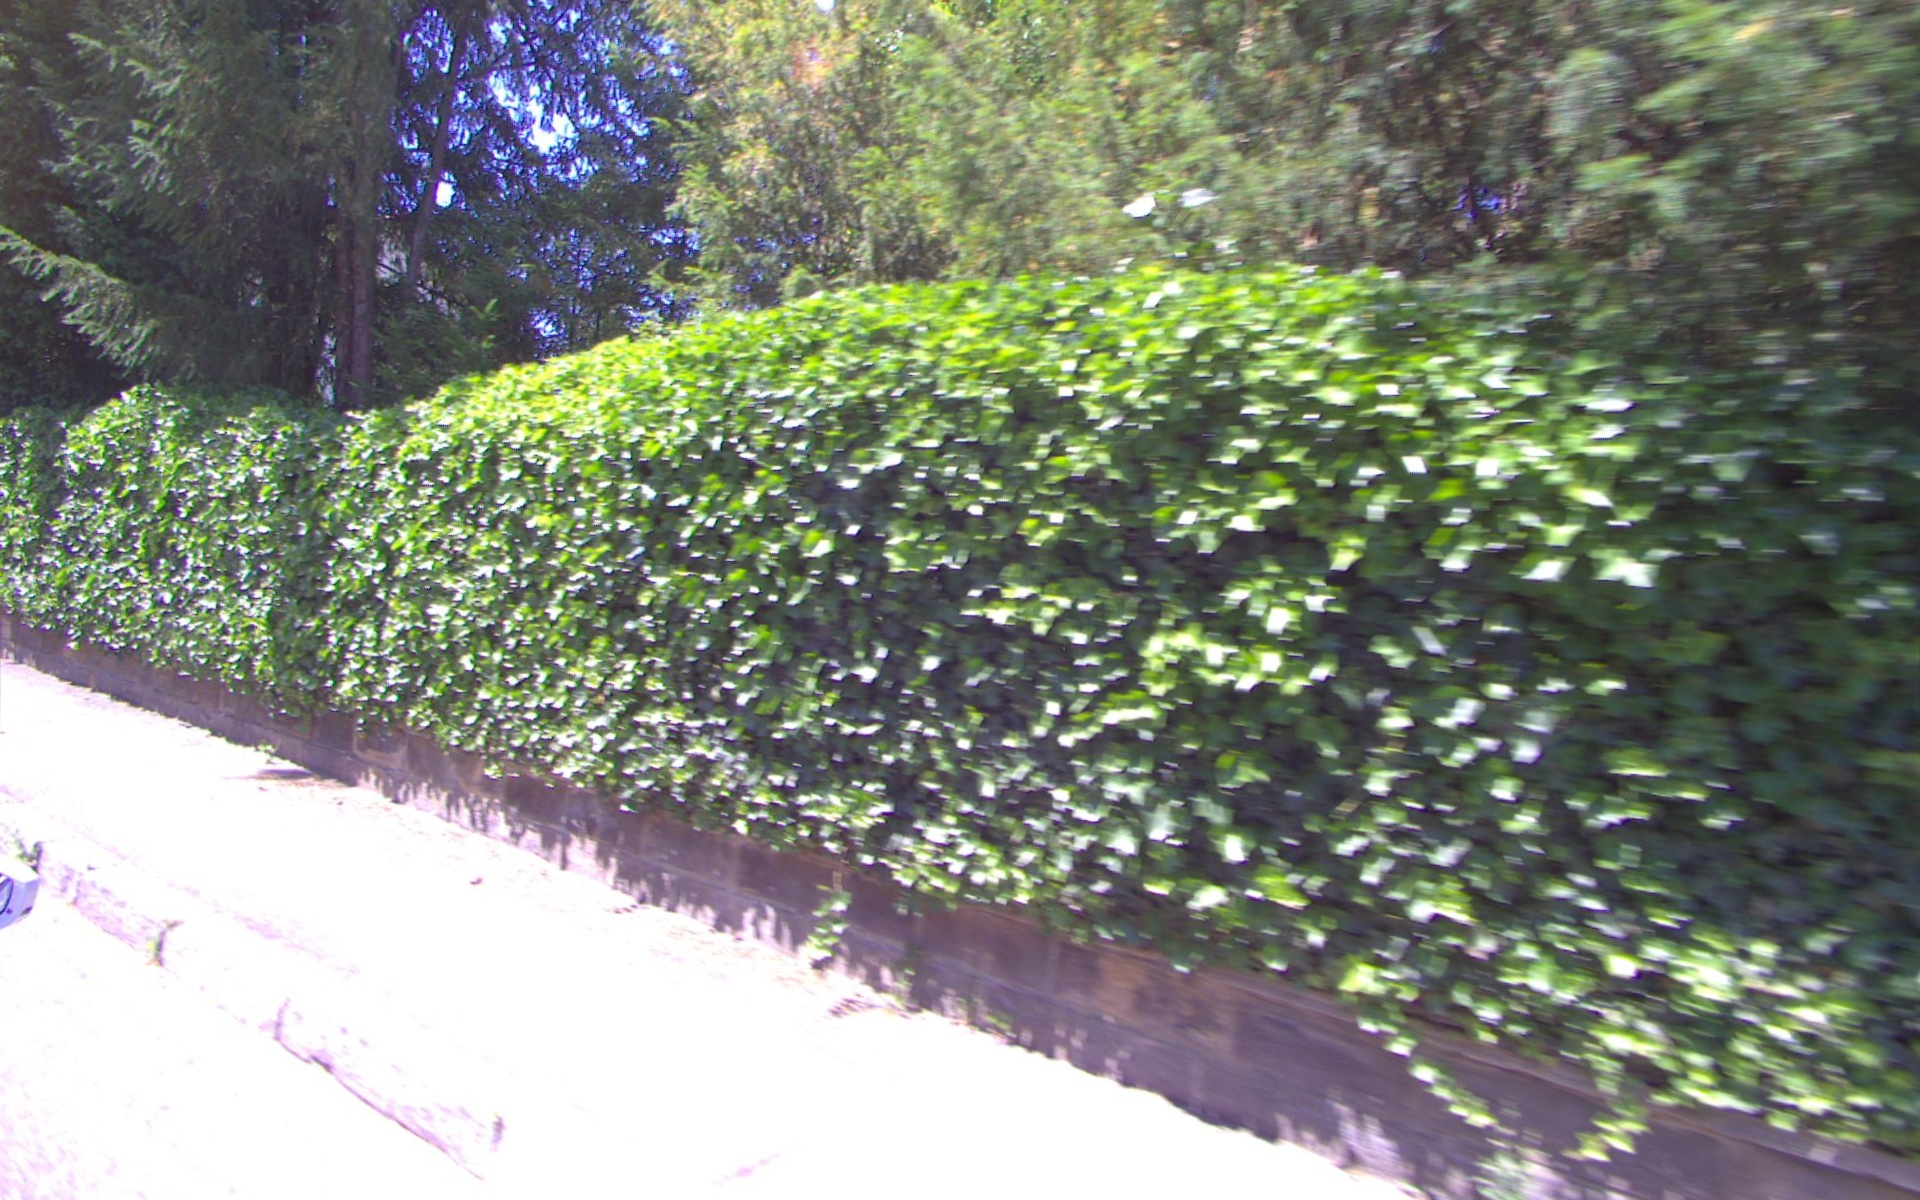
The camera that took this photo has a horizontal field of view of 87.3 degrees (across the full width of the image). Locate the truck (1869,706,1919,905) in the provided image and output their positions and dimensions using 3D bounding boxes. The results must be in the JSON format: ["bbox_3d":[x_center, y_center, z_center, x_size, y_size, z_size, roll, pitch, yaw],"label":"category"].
[{"bbox_3d":[10.525,2.090,8.879,1.945,2.190,6.634,8,-4,29],"label":"truck"}]
